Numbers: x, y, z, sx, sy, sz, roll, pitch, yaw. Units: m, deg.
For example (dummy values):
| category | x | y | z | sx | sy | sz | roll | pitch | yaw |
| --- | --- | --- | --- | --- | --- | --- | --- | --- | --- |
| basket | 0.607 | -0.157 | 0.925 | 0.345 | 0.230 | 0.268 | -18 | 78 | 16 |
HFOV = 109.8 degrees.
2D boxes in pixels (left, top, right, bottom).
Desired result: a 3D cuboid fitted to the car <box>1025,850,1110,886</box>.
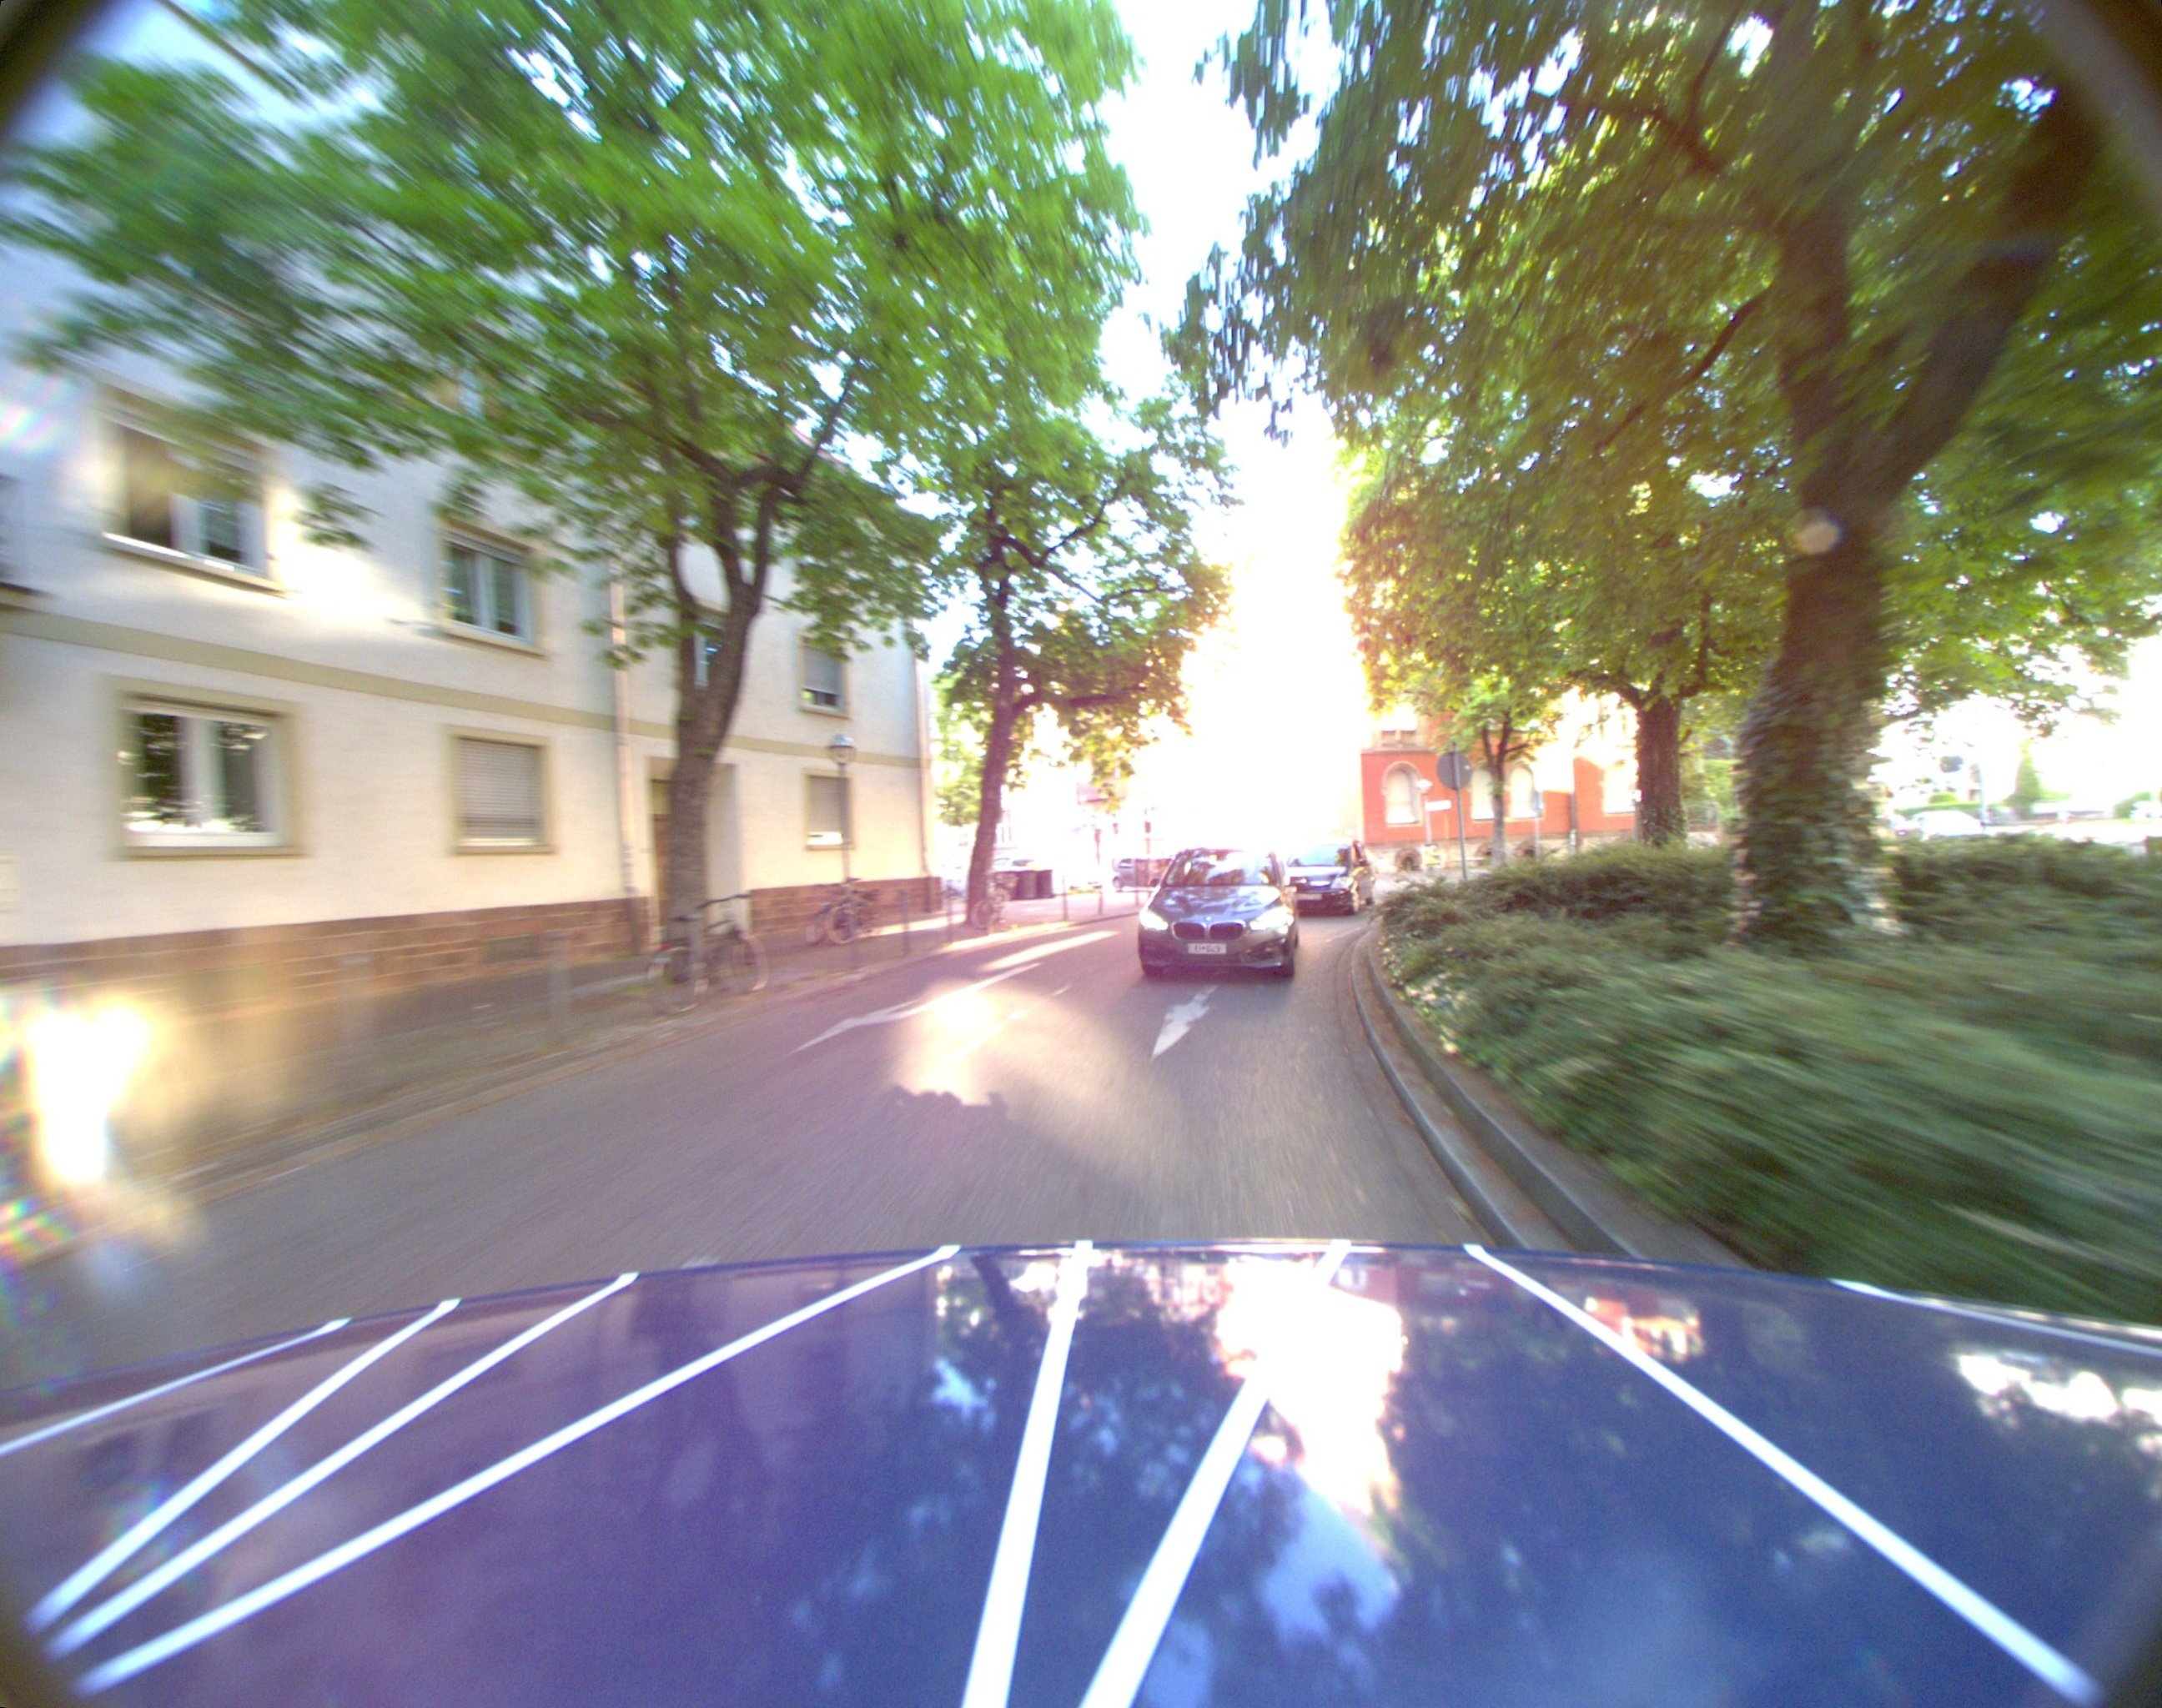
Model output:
| category | x | y | z | sx | sy | sz | roll | pitch | yaw |
| --- | --- | --- | --- | --- | --- | --- | --- | --- | --- |
| car | -0.698 | 0.691 | 36.045 | 1.809 | 1.543 | 4.175 | -3 | 0 | -39 |

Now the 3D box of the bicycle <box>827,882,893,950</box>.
| category | x | y | z | sx | sy | sz | roll | pitch | yaw |
| --- | --- | --- | --- | --- | --- | --- | --- | --- | --- |
| bicycle | -4.045 | 1.111 | 13.995 | 0.334 | 1.087 | 1.638 | -3 | 0 | 14 |

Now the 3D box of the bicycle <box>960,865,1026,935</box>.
| category | x | y | z | sx | sy | sz | roll | pitch | yaw |
| --- | --- | --- | --- | --- | --- | --- | --- | --- | --- |
| bicycle | -1.796 | 0.917 | 15.891 | 0.767 | 1.297 | 1.904 | -3 | 0 | 11 |

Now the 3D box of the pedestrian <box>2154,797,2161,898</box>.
| category | x | y | z | sx | sy | sz | roll | pitch | yaw |
| --- | --- | --- | --- | --- | --- | --- | --- | --- | --- |
| pedestrian | 15.525 | -0.101 | 10.451 | 0.708 | 1.435 | 0.601 | -3 | 1 | 37 |

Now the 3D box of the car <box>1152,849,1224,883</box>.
| category | x | y | z | sx | sy | sz | roll | pitch | yaw |
| --- | --- | --- | --- | --- | --- | --- | --- | --- | --- |
| car | 5.080 | 0.575 | 36.330 | 1.495 | 1.531 | 3.207 | -3 | 0 | -39 |

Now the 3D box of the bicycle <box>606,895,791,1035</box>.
| category | x | y | z | sx | sy | sz | roll | pitch | yaw |
| --- | --- | --- | --- | --- | --- | --- | --- | --- | --- |
| bicycle | -4.043 | 1.128 | 8.250 | 0.718 | 1.216 | 1.916 | -3 | 0 | 11 |

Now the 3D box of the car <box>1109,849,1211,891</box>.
| category | x | y | z | sx | sy | sz | roll | pitch | yaw |
| --- | --- | --- | --- | --- | --- | --- | --- | --- | --- |
| car | 3.114 | 0.667 | 30.781 | 1.699 | 1.543 | 4.042 | -3 | 0 | -39 |

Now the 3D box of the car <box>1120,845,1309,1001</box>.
| category | x | y | z | sx | sy | sz | roll | pitch | yaw |
| --- | --- | --- | --- | --- | --- | --- | --- | --- | --- |
| car | 1.991 | 0.718 | 10.109 | 1.791 | 1.569 | 4.266 | -2 | 1 | 19 |

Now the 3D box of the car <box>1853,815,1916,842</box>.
| category | x | y | z | sx | sy | sz | roll | pitch | yaw |
| --- | --- | --- | --- | --- | --- | --- | --- | --- | --- |
| car | 48.319 | -1.546 | 45.773 | 1.732 | 1.409 | 4.006 | -3 | 2 | 34 |

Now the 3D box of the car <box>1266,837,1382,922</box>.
| category | x | y | z | sx | sy | sz | roll | pitch | yaw |
| --- | --- | --- | --- | --- | --- | --- | --- | --- | --- |
| car | 5.472 | 0.497 | 16.822 | 1.676 | 1.619 | 3.694 | -3 | 0 | 29 |

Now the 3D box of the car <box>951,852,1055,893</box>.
| category | x | y | z | sx | sy | sz | roll | pitch | yaw |
| --- | --- | --- | --- | --- | --- | --- | --- | --- | --- |
| car | -3.091 | 0.728 | 30.614 | 3.811 | 1.417 | 1.672 | -3 | 0 | -41 |

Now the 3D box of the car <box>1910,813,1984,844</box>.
| category | x | y | z | sx | sy | sz | roll | pitch | yaw |
| --- | --- | --- | --- | --- | --- | --- | --- | --- | --- |
| car | 44.021 | -1.324 | 38.701 | 1.732 | 1.409 | 4.007 | -3 | 0 | 38 |

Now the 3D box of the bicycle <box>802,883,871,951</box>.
| category | x | y | z | sx | sy | sz | roll | pitch | yaw |
| --- | --- | --- | --- | --- | --- | --- | --- | --- | --- |
| bicycle | -4.431 | 1.123 | 13.902 | 0.334 | 1.087 | 1.638 | -3 | 0 | 14 |
